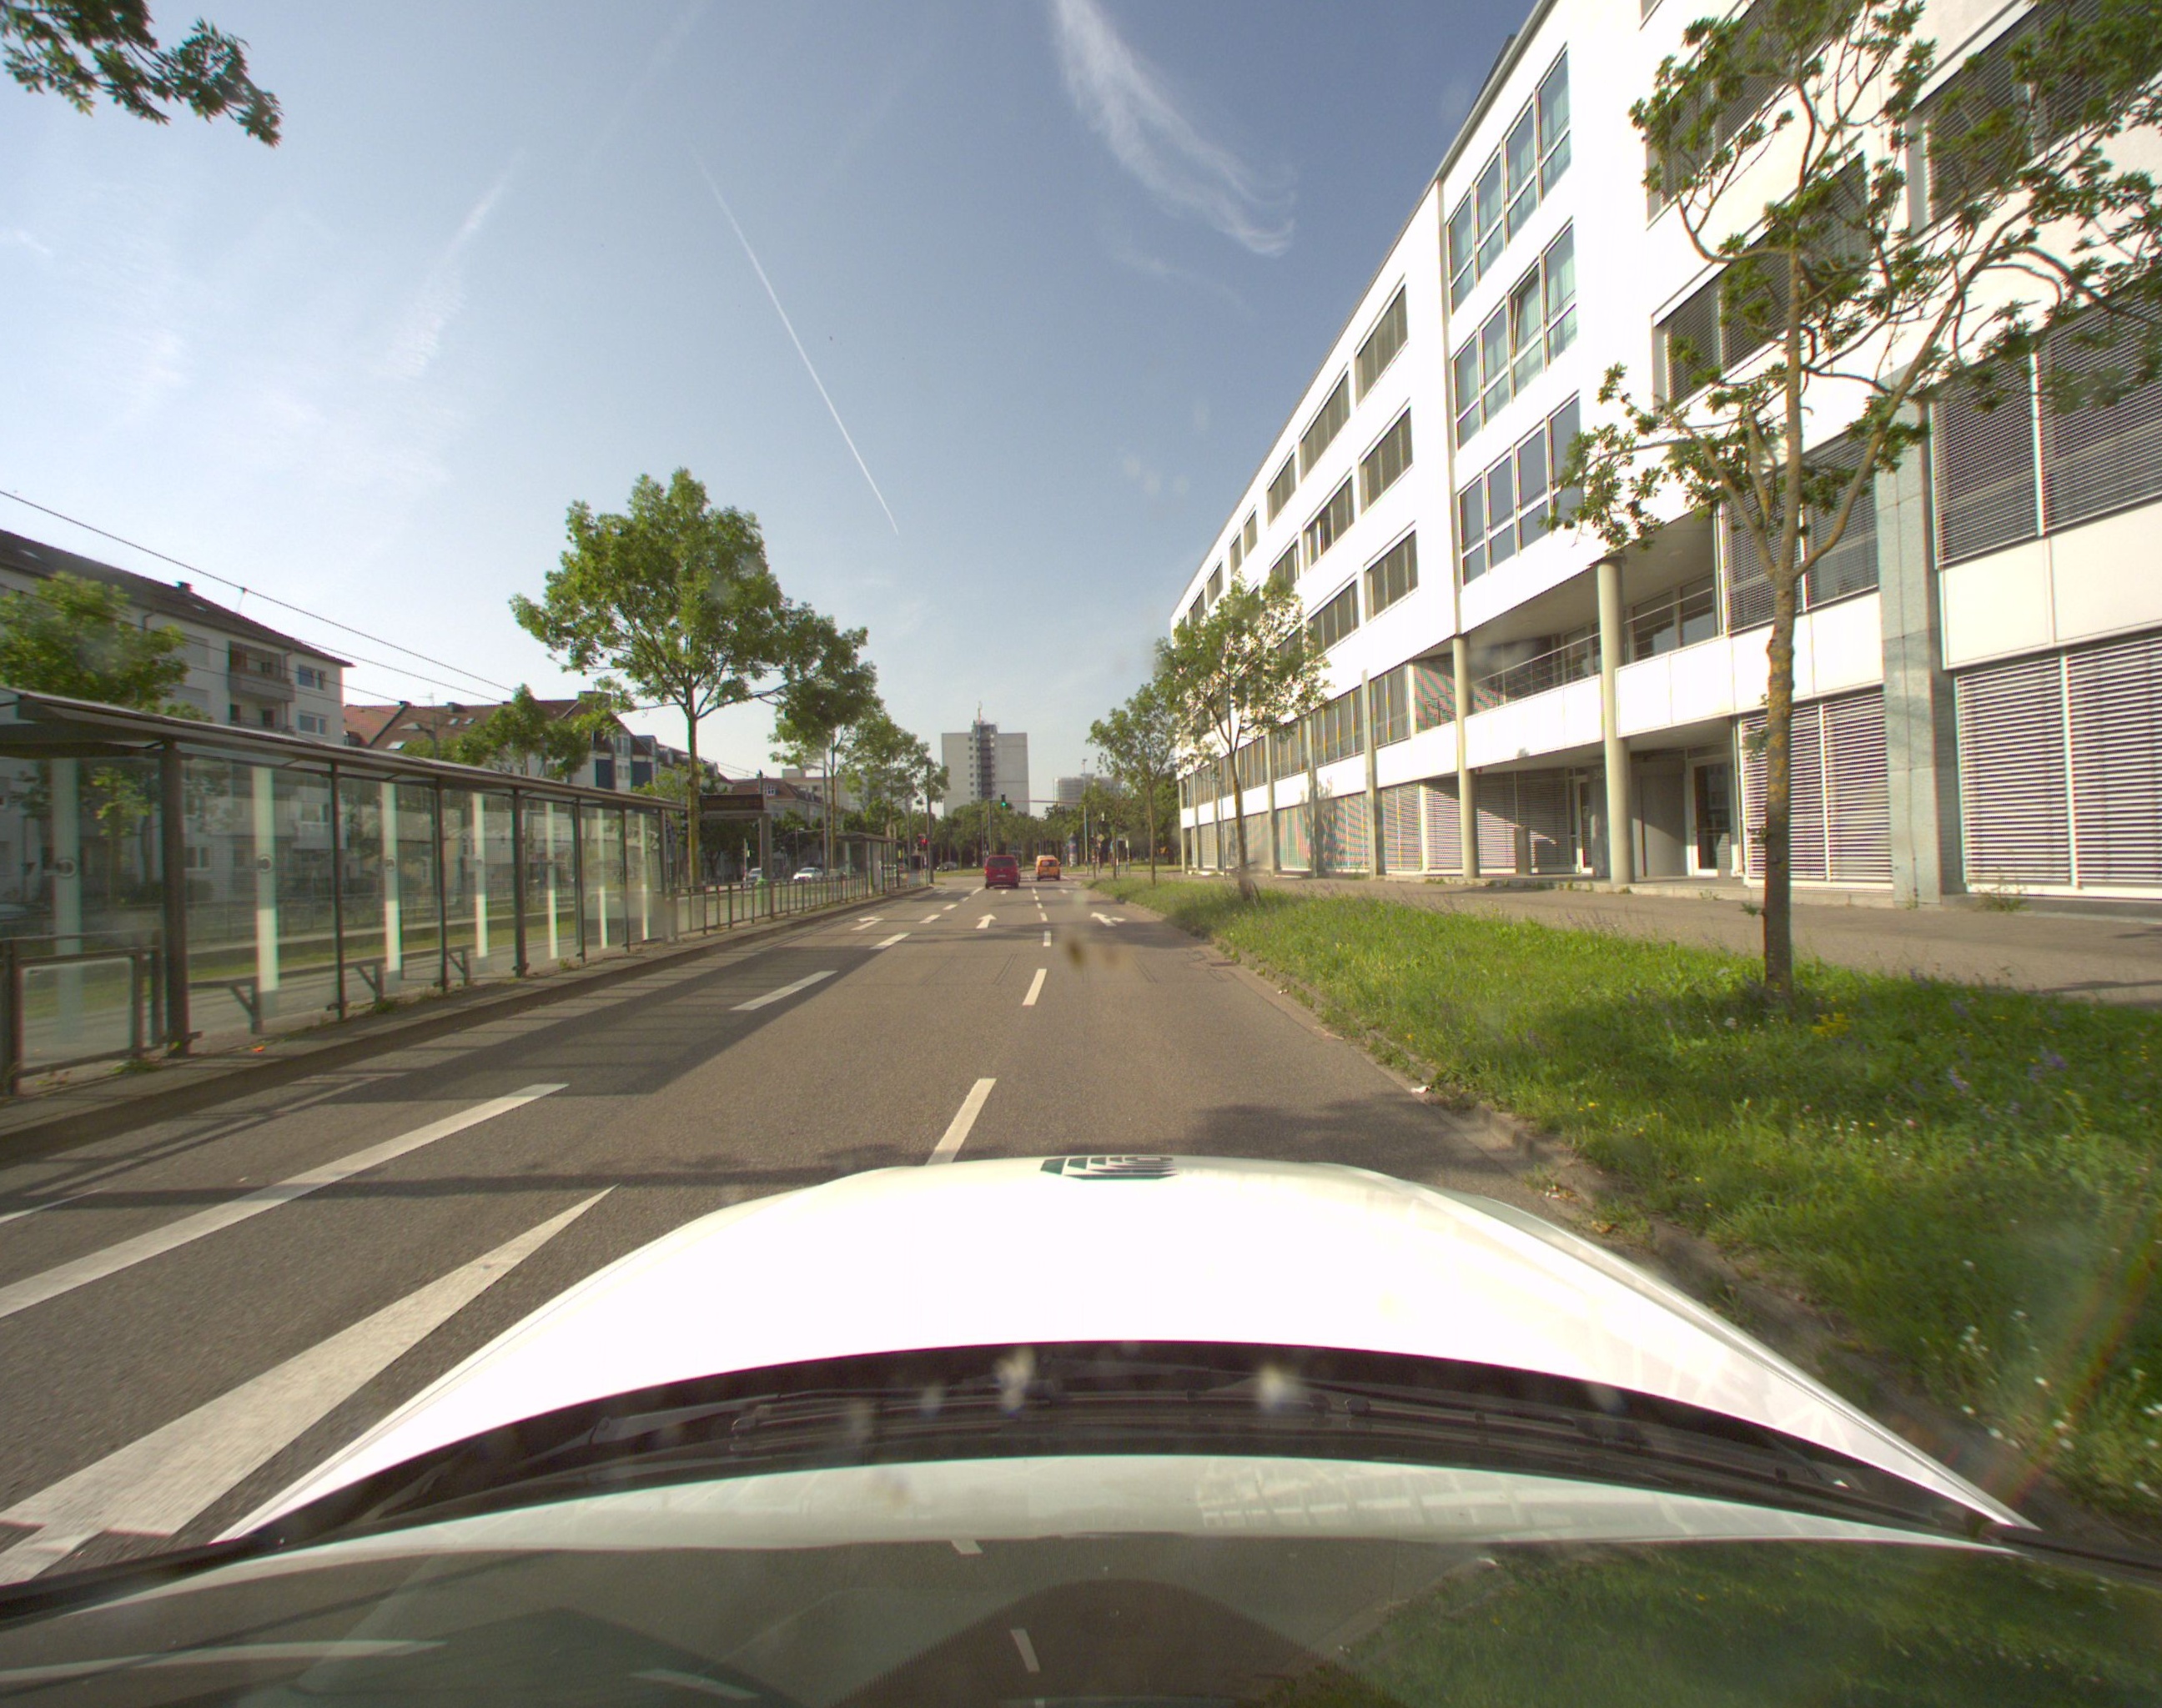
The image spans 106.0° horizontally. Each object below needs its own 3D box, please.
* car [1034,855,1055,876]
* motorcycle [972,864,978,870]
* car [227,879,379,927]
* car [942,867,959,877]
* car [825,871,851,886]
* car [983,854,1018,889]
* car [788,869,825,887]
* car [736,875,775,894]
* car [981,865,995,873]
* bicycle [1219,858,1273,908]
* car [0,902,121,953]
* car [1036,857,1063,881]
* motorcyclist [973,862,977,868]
[{"bbox_3d":[-3.641,1.180,81.530,1.990,2.014,3.993,0,-1,-4],"label":"car"},{"bbox_3d":[-19.357,2.352,148.731,0.633,1.167,1.648,-2,-1,10],"label":"motorcycle"},{"bbox_3d":[-36.830,2.256,38.806,2.362,2.031,5.301,0,-1,-5],"label":"car"},{"bbox_3d":[-21.195,2.912,132.231,1.866,1.574,4.005,0,-1,5],"label":"car"},{"bbox_3d":[-28.982,2.907,97.153,1.870,1.574,3.998,-2,-1,-1],"label":"car"},{"bbox_3d":[-4.626,0.990,46.962,1.872,1.853,3.992,-2,-1,-5],"label":"car"},{"bbox_3d":[-25.158,2.185,74.696,1.987,1.596,4.048,0,-1,-1],"label":"car"},{"bbox_3d":[-28.517,2.645,71.460,1.989,1.596,3.994,0,-1,-4],"label":"car"},{"bbox_3d":[-18.735,3.062,164.005,1.864,1.574,4.009,-2,-1,8],"label":"car"},{"bbox_3d":[3.574,0.608,17.808,0.617,1.017,1.876,-2,-1,-5],"label":"bicycle"},{"bbox_3d":[-29.884,2.057,22.942,3.961,1.244,1.945,-2,-1,11],"label":"car"},{"bbox_3d":[-2.385,1.095,61.211,1.872,1.696,3.968,-2,-1,-4],"label":"car"},{"bbox_3d":[-19.379,2.029,148.685,0.616,1.167,0.552,-2,-1,9],"label":"motorcyclist"}]
